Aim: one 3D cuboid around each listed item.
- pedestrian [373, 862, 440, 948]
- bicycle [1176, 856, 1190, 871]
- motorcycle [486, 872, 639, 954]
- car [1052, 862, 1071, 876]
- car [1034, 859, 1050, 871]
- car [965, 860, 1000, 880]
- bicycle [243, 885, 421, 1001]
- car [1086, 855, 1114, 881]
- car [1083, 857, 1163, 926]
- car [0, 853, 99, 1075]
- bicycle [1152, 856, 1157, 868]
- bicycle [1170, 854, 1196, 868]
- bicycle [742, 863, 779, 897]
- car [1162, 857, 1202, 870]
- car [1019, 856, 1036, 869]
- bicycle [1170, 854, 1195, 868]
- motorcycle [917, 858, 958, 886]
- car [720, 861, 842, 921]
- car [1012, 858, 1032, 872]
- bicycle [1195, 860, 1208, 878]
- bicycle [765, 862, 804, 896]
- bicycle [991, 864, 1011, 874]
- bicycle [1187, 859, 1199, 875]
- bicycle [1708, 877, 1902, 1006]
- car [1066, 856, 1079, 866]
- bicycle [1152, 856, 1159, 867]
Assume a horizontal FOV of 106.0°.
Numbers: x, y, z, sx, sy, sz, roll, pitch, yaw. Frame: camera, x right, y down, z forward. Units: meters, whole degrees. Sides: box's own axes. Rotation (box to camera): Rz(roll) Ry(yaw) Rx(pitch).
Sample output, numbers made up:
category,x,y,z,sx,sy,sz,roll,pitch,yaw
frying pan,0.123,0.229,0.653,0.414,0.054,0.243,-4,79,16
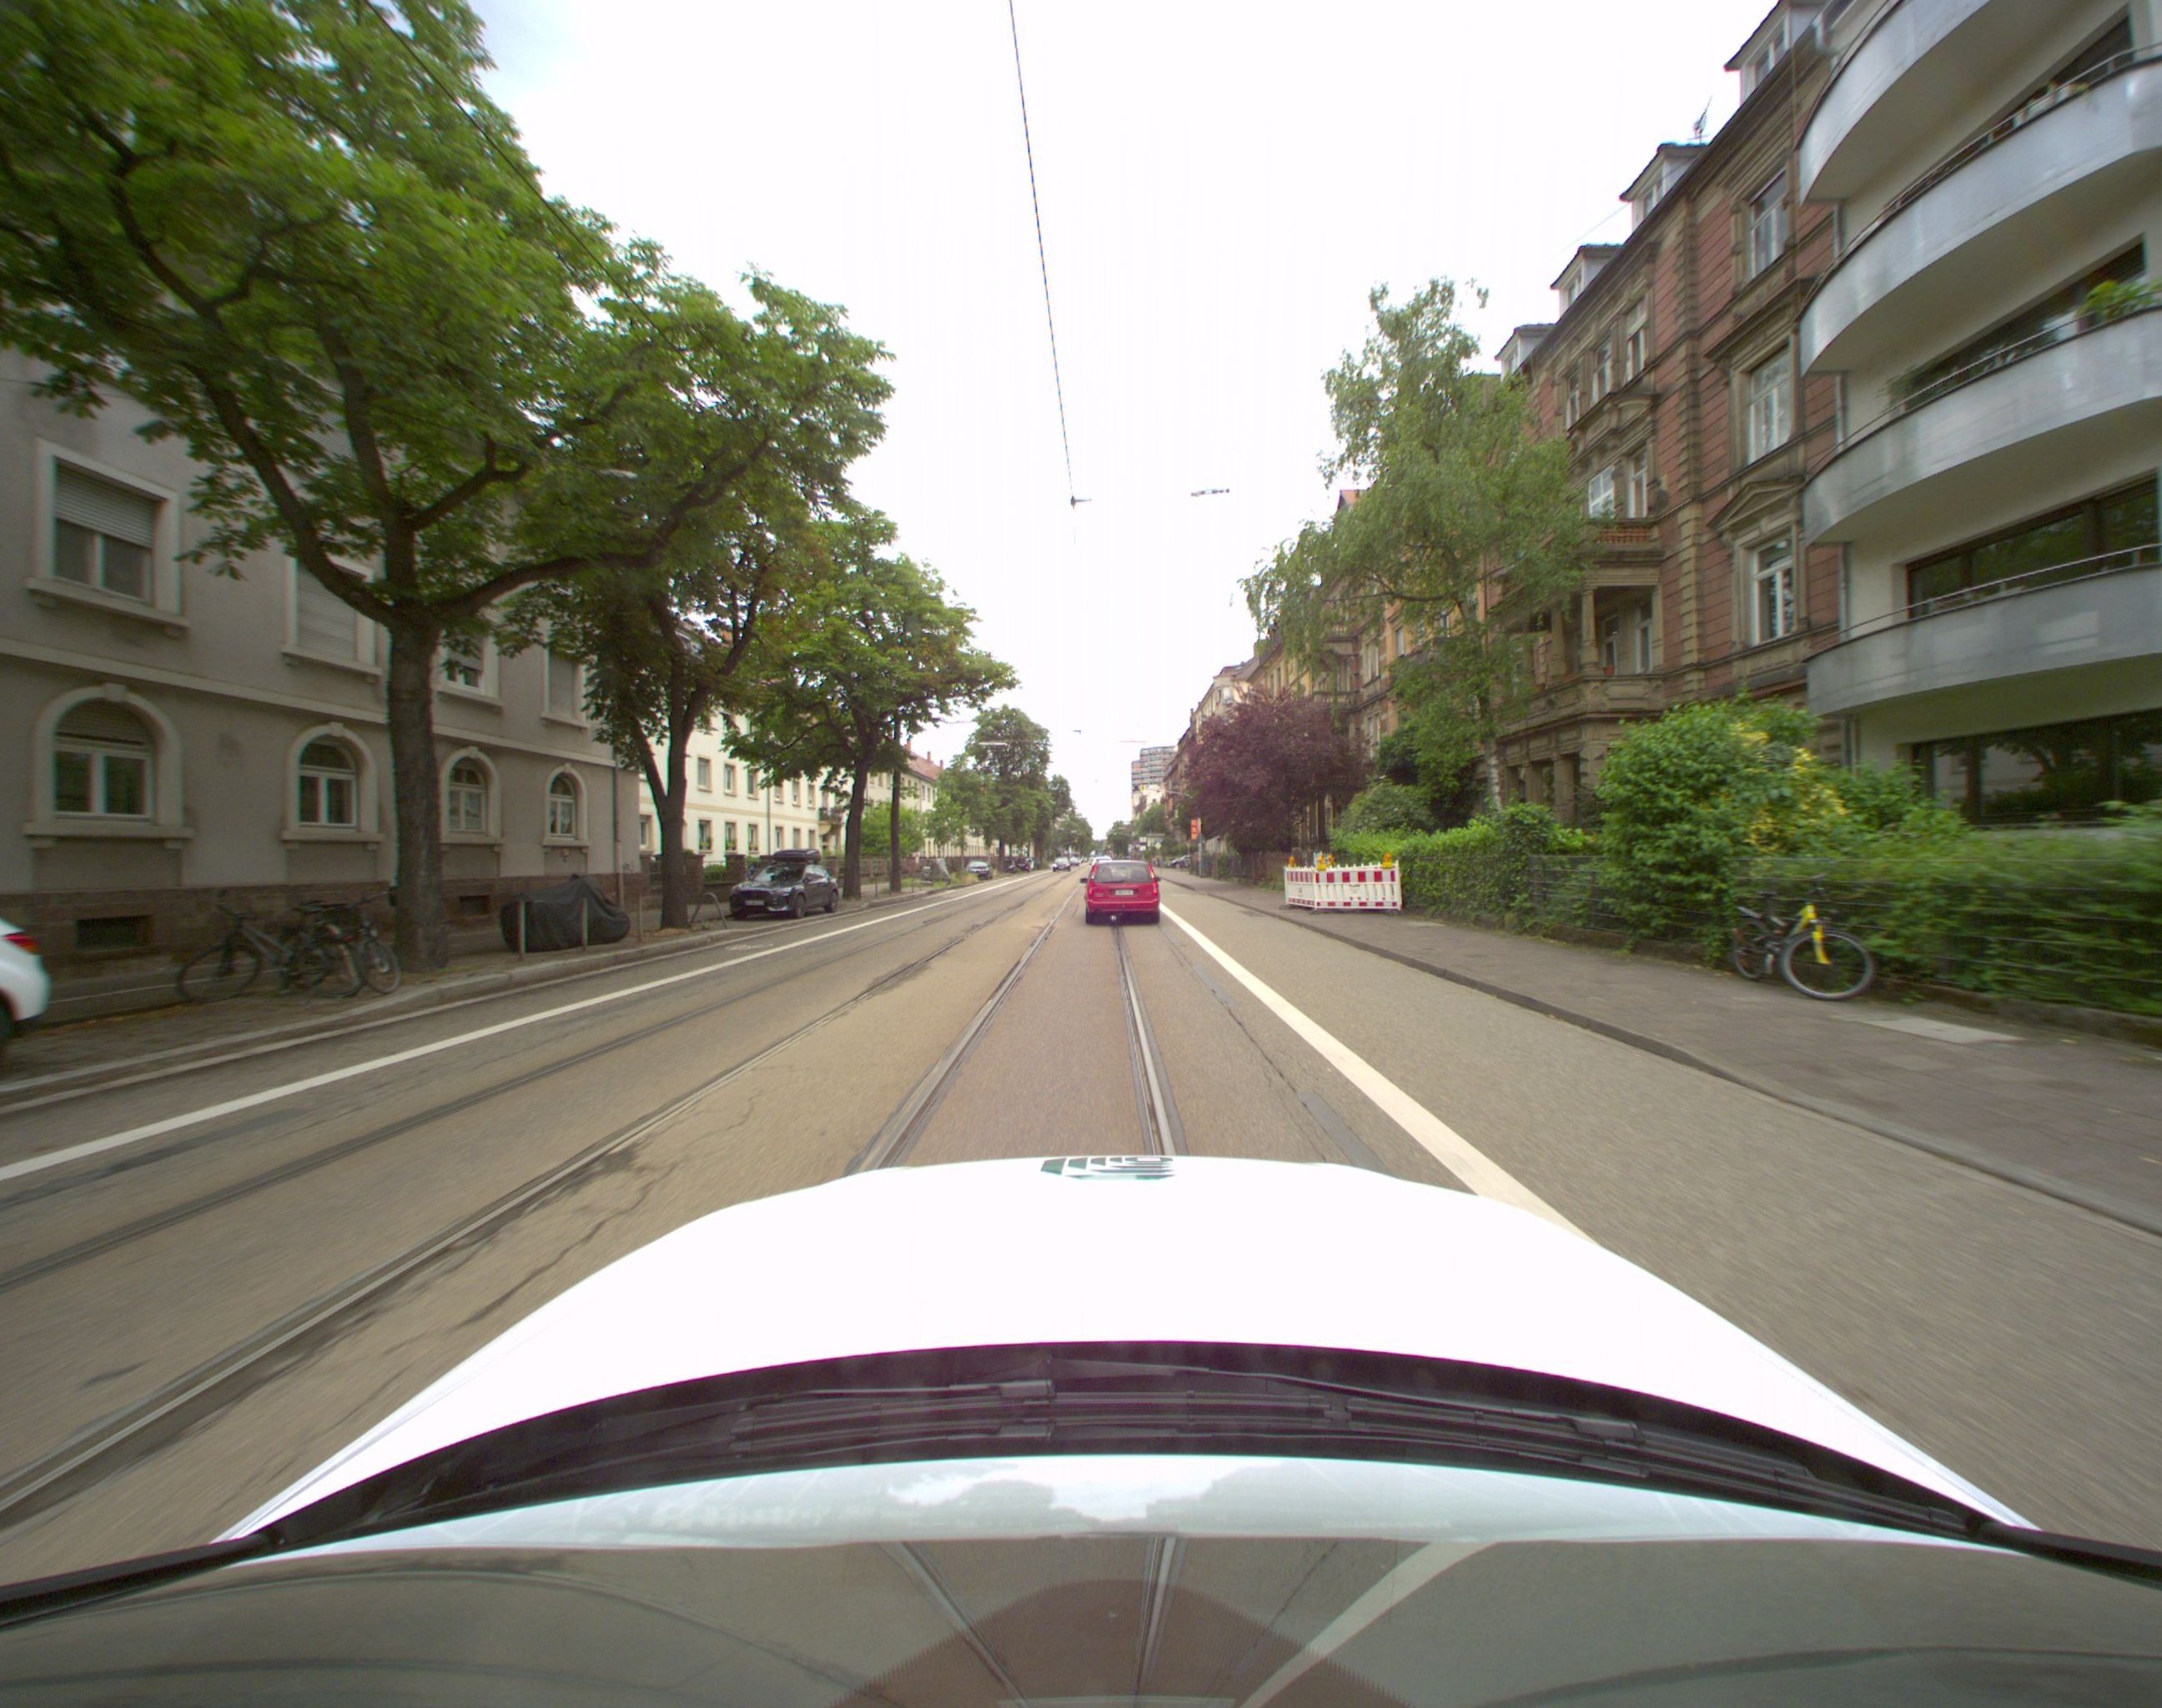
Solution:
category,x,y,z,sx,sy,sz,roll,pitch,yaw
pedestrian,-11.903,0.887,14.389,0.562,1.467,0.723,-1,0,1
bicycle,10.268,0.928,81.852,0.910,1.507,2.392,-1,0,18
motorcycle,-9.149,0.984,14.524,0.857,1.288,2.331,0,0,15
car,-2.038,1.522,85.963,1.749,1.380,4.027,-1,0,0
car,-5.063,1.435,106.346,1.713,1.486,4.001,-1,0,2
car,-7.226,1.162,60.368,1.883,1.398,4.419,-1,0,2
bicycle,-8.858,1.022,9.644,1.730,1.192,0.655,1,5,15
car,1.329,0.916,54.699,1.711,1.625,3.944,-1,0,3
car,0.941,0.804,19.230,1.683,1.441,3.744,0,0,1
car,-9.002,0.820,4.544,1.891,1.655,4.225,0,0,0
bicycle,9.123,0.995,101.367,0.549,1.400,1.734,-1,0,2
bicycle,12.326,0.854,98.512,2.967,1.624,1.049,-1,0,-1
bicycle,-13.567,1.066,34.529,0.625,1.382,2.141,-1,0,1
car,10.702,1.009,86.190,3.961,1.361,1.898,-1,0,11
car,-6.645,1.038,101.717,1.707,1.580,4.001,0,0,2
bicycle,12.479,0.858,100.328,2.967,1.624,1.049,-1,0,-1
motorcycle,-7.989,1.003,45.170,2.243,1.511,0.932,-1,-2,36
car,-8.413,0.977,23.296,1.770,1.511,4.240,0,0,2
car,-6.465,1.215,90.050,1.844,1.563,3.944,-1,0,1
bicycle,7.552,0.956,51.130,0.521,1.099,2.177,-1,0,1
bicycle,-12.564,1.043,34.557,0.790,1.382,2.142,-1,0,2
bicycle,-7.428,1.377,75.492,1.742,0.844,0.684,-1,0,2
bicycle,7.713,0.897,56.006,0.521,1.030,2.177,-2,0,1
bicycle,6.815,0.774,7.769,0.477,1.045,1.532,-3,0,2
car,-1.376,1.147,131.378,1.887,1.611,4.501,-1,0,1
bicycle,8.955,0.905,97.594,0.705,1.300,1.905,-1,0,2
